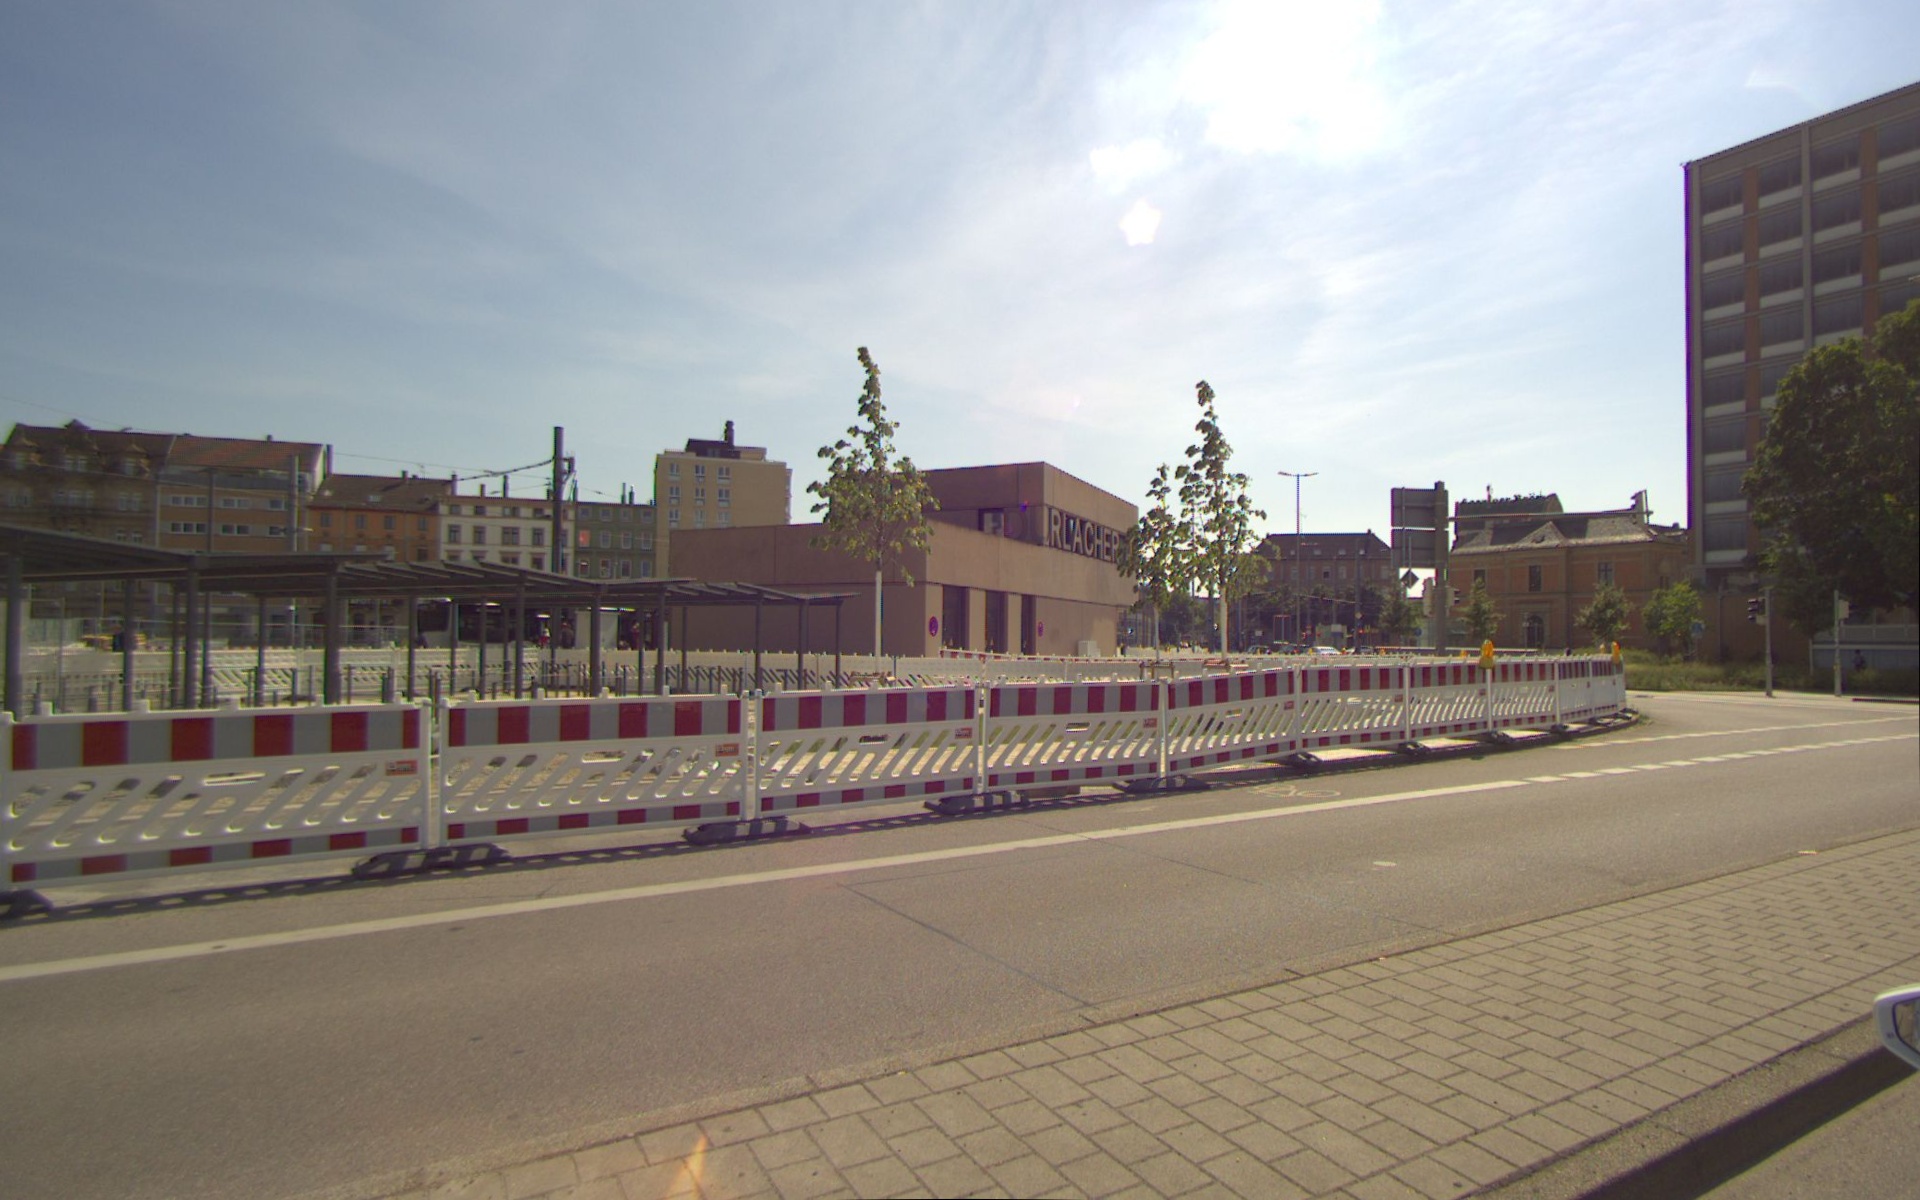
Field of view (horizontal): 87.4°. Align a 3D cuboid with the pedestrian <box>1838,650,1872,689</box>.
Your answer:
[{"bbox_3d":[41.390,3.201,46.479,0.857,1.748,0.799,1,-2,-7],"label":"pedestrian"}]

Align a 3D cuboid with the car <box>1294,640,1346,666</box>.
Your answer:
[{"bbox_3d":[26.030,3.800,72.673,1.963,1.839,3.996,1,-2,-7],"label":"car"}]

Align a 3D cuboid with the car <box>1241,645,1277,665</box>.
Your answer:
[{"bbox_3d":[23.866,4.362,80.226,1.764,1.530,4.001,1,-2,1],"label":"car"}]

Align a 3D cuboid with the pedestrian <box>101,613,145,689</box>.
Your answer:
[{"bbox_3d":[-22.953,1.403,27.544,0.807,2.040,0.684,-1,-3,35],"label":"pedestrian"}]

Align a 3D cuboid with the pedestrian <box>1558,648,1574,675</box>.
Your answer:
[{"bbox_3d":[39.805,4.049,65.989,0.637,1.683,0.650,2,0,-3],"label":"pedestrian"}]
